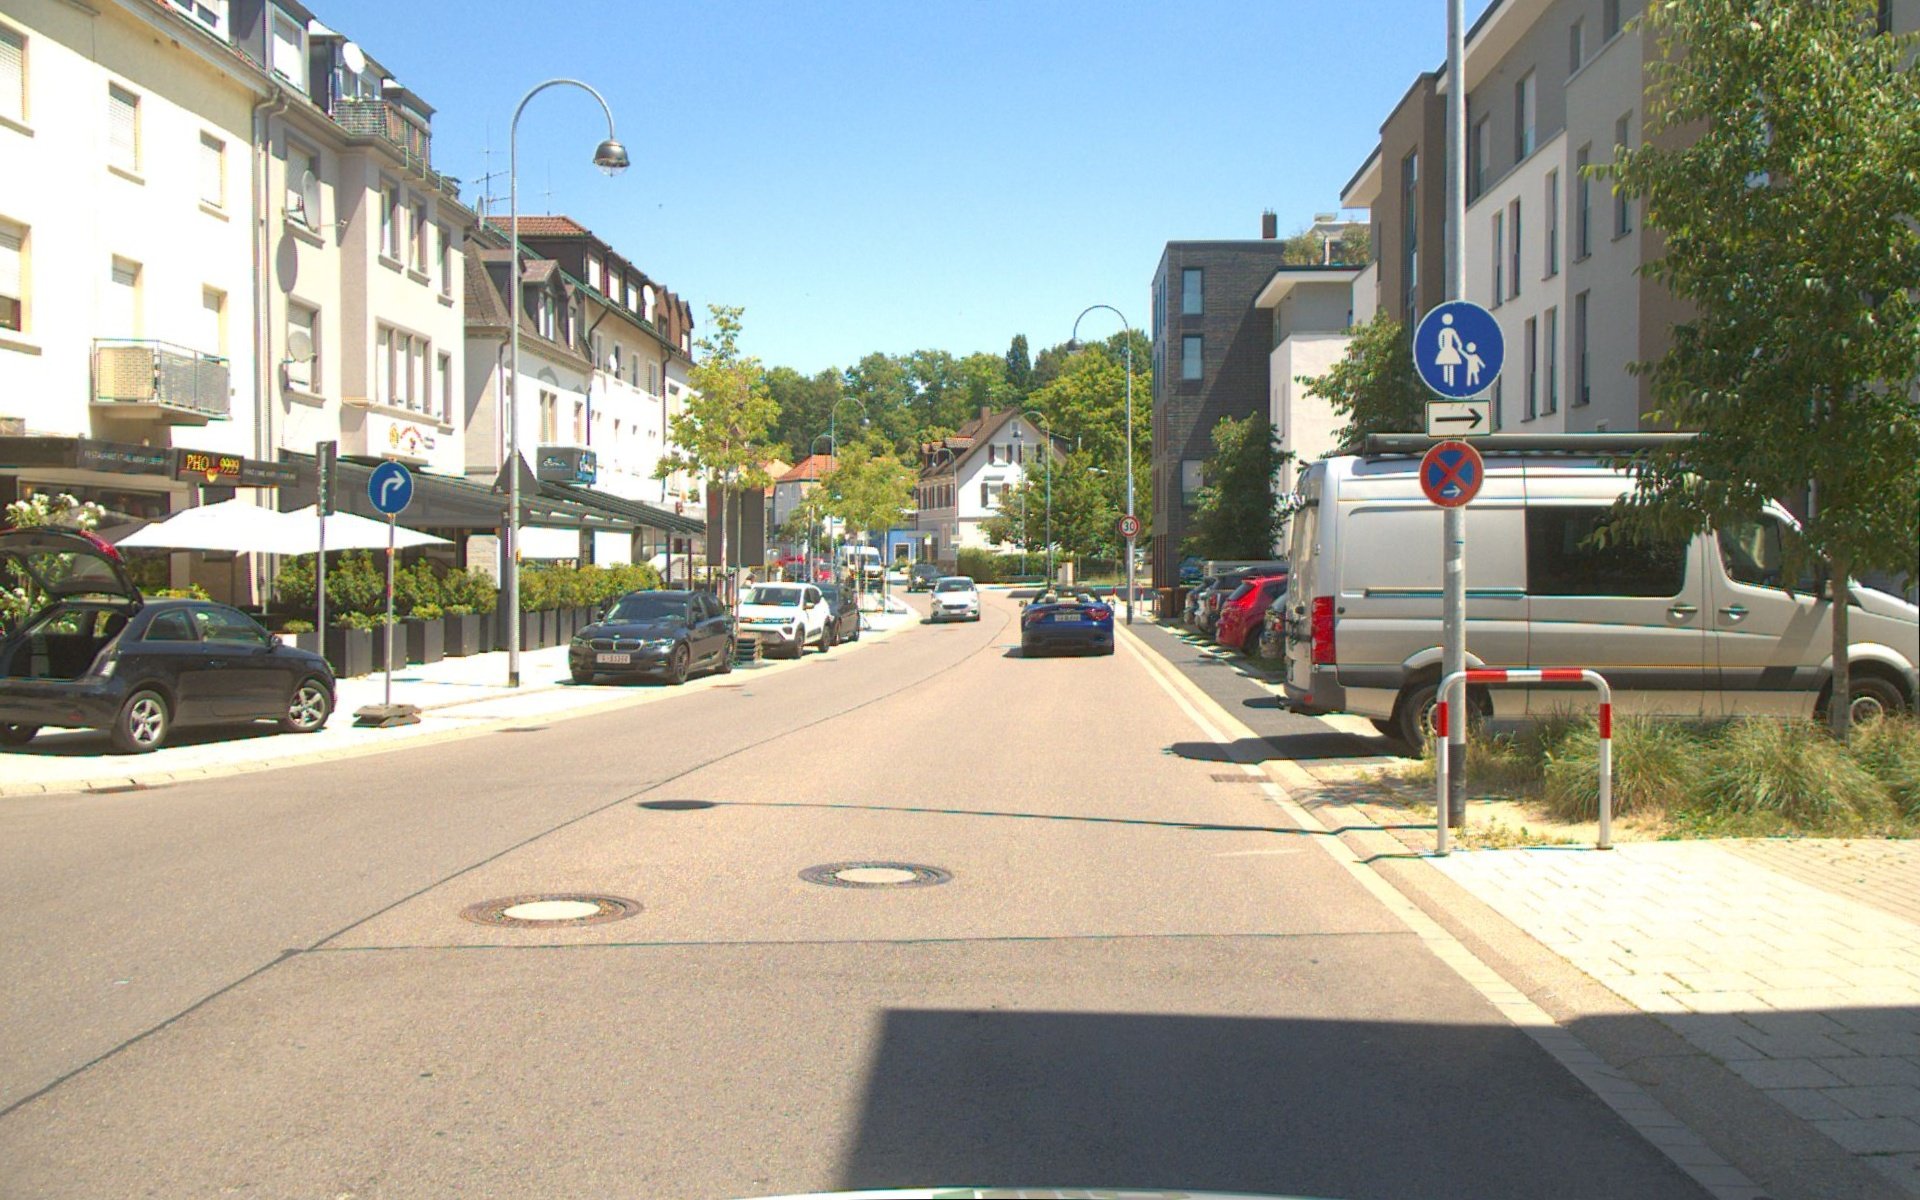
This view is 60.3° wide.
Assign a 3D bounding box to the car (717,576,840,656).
[{"bbox_3d":[-3.789,0.296,35.129,1.610,1.505,3.945,2,2,9],"label":"car"}]

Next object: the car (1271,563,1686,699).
[{"bbox_3d":[6.172,0.347,20.136,4.491,1.555,2.001,0,1,4],"label":"car"}]

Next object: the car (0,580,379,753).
[{"bbox_3d":[-7.938,0.587,17.005,1.676,1.486,4.133,2,1,14],"label":"car"}]

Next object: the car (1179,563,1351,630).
[{"bbox_3d":[7.292,-0.103,39.831,3.897,1.555,1.741,0,1,3],"label":"car"}]

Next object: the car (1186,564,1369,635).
[{"bbox_3d":[7.203,-0.018,37.830,3.897,1.555,1.944,0,1,3],"label":"car"}]

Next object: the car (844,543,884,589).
[{"bbox_3d":[-5.339,-1.873,91.539,1.831,2.442,4.811,0,1,-7],"label":"car"}]

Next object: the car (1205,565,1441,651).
[{"bbox_3d":[6.505,0.129,29.973,3.888,1.433,1.857,-1,1,2],"label":"car"}]

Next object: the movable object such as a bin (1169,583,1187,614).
[{"bbox_3d":[6.943,-0.055,52.710,0.484,0.945,0.623,-2,0,5],"label":"movable object such as a bin"}]

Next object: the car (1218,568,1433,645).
[{"bbox_3d":[7.131,0.107,32.567,3.897,1.457,1.763,0,1,3],"label":"car"}]

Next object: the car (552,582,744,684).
[{"bbox_3d":[-5.078,0.483,27.608,1.795,1.454,4.787,1,1,6],"label":"car"}]

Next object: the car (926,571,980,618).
[{"bbox_3d":[-0.211,-0.233,57.041,1.652,1.483,4.060,-2,1,2],"label":"car"}]

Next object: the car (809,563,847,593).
[{"bbox_3d":[-8.024,-1.348,100.405,1.957,1.769,3.991,-1,1,-9],"label":"car"}]

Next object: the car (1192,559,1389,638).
[{"bbox_3d":[7.000,-0.041,35.351,3.897,1.633,1.944,0,1,3],"label":"car"}]

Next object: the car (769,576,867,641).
[{"bbox_3d":[-3.432,0.178,40.680,1.634,1.468,4.013,0,1,6],"label":"car"}]

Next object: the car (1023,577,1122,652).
[{"bbox_3d":[2.406,0.253,34.355,1.831,1.365,4.600,-2,1,6],"label":"car"}]

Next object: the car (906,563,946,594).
[{"bbox_3d":[-1.893,-1.191,90.819,1.630,1.634,3.991,-2,1,-9],"label":"car"}]

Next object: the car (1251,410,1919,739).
[{"bbox_3d":[5.734,-0.218,15.197,5.815,2.780,2.197,0,1,3],"label":"car"}]

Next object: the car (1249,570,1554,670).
[{"bbox_3d":[6.664,0.281,25.310,4.170,1.441,1.928,0,1,0],"label":"car"}]

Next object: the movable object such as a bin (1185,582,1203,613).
[{"bbox_3d":[7.456,-0.078,52.677,0.484,0.945,0.623,-2,0,5],"label":"movable object such as a bin"}]

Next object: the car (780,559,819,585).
[{"bbox_3d":[-10.927,-1.936,112.415,1.961,1.721,3.984,0,1,-16],"label":"car"}]

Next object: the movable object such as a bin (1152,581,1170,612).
[{"bbox_3d":[6.415,-0.119,52.758,0.525,0.945,0.623,-2,0,5],"label":"movable object such as a bin"}]
